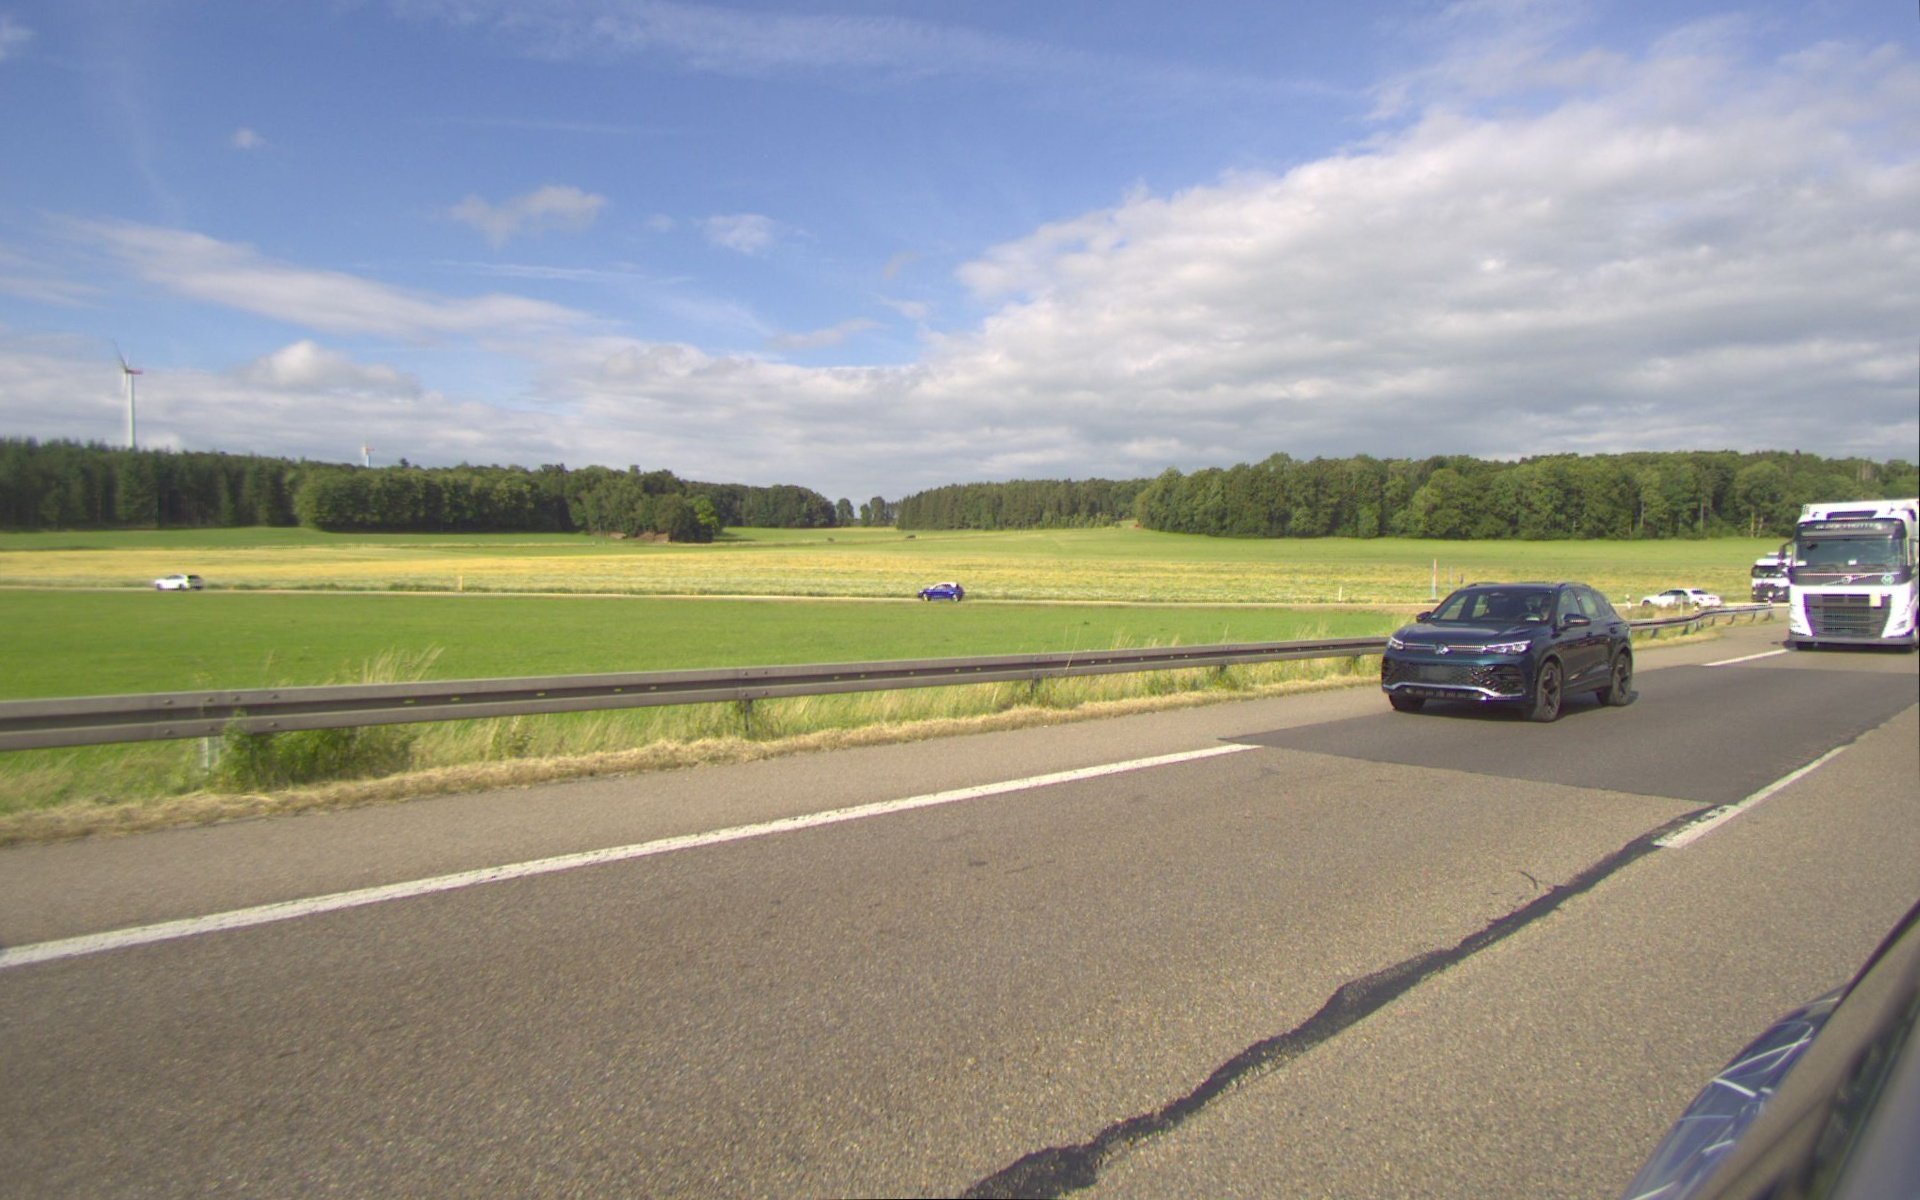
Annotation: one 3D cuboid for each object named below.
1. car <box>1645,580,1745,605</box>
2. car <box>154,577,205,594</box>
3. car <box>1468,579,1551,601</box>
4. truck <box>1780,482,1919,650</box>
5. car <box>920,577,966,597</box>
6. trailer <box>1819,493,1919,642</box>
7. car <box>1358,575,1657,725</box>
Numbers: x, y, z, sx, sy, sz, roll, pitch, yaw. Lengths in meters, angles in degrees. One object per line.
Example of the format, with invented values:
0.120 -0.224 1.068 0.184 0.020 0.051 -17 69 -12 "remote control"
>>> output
47.698 -0.511 65.847 1.958 1.565 5.092 -1 1 -17 "car"
-76.121 -1.392 98.715 3.944 1.638 1.990 0 1 16 "car"
40.832 -0.741 75.327 5.037 1.576 1.995 0 0 10 "car"
24.828 -0.871 27.406 6.384 4.040 2.841 -1 0 -39 "truck"
-1.359 -1.063 83.411 3.506 1.549 1.719 0 0 12 "car"
30.313 -0.967 31.894 11.911 4.032 2.825 -1 1 -39 "trailer"
7.107 0.506 12.989 4.045 1.616 1.998 -1 1 -39 "car"
